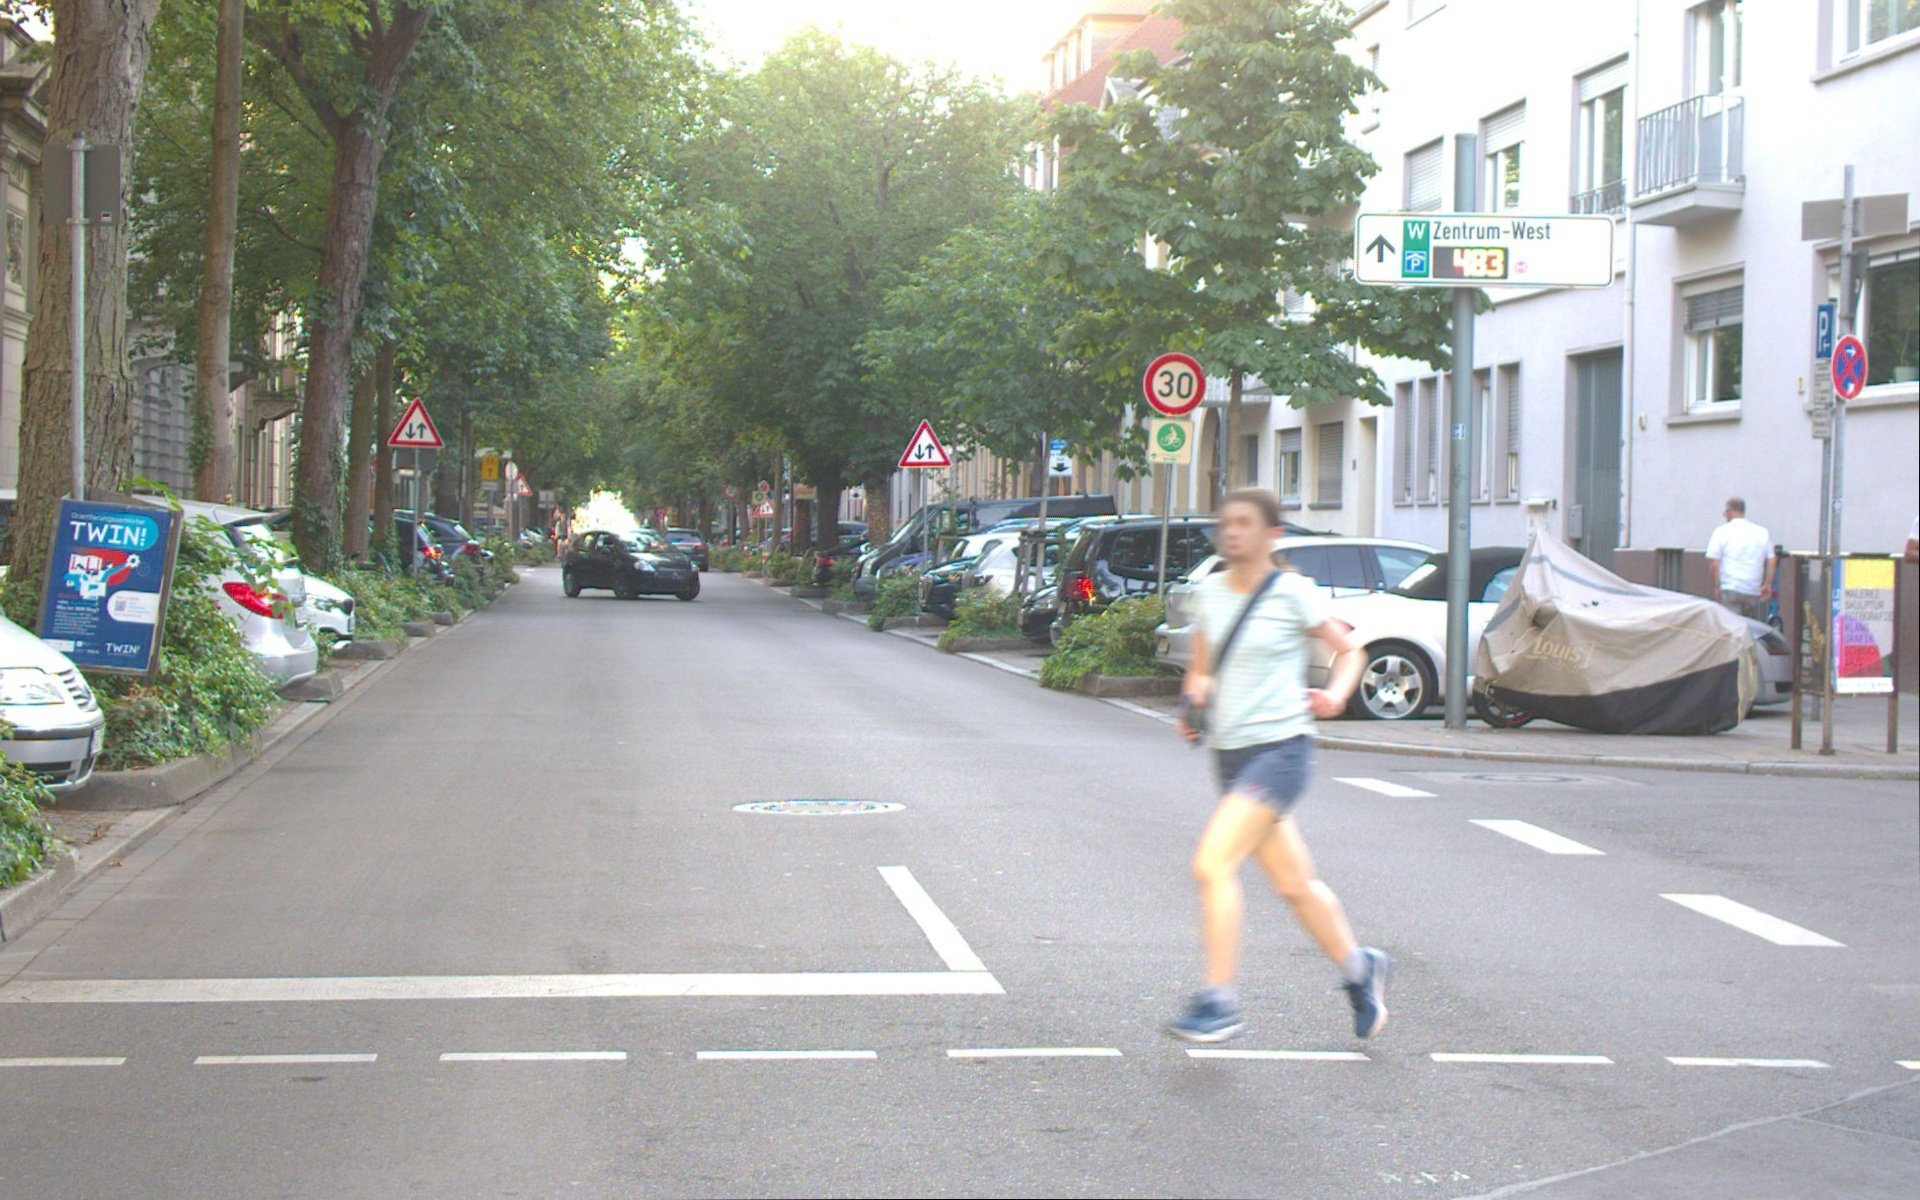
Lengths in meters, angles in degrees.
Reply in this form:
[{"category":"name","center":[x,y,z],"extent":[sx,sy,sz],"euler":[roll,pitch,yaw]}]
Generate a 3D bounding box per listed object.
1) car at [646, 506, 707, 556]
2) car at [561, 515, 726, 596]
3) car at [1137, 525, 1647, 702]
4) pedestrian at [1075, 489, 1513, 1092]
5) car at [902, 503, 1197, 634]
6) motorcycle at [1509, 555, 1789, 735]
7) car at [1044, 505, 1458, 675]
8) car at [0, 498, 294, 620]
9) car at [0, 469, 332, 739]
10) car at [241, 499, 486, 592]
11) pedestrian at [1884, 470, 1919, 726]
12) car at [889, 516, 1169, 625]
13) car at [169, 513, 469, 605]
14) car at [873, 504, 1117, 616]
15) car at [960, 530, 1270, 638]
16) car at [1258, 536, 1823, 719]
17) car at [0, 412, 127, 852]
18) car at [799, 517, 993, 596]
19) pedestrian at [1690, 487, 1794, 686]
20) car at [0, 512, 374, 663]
[{"category":"car","center":[-9.353,-2.289,113.279],"extent":[1.825,1.556,4.029],"euler":[2,1,-7]},{"category":"car","center":[-6.743,-0.954,72.979],"extent":[1.904,1.572,3.992],"euler":[2,1,-31]},{"category":"car","center":[3.636,0.098,29.311],"extent":[4.013,1.437,1.707],"euler":[0,1,-6]},{"category":"pedestrian","center":[0.927,0.487,9.492],"extent":[0.701,1.552,0.977],"euler":[3,2,45]},{"category":"car","center":[1.254,-0.462,49.155],"extent":[4.013,1.809,1.707],"euler":[0,1,-6]},{"category":"motorcycle","center":[4.708,0.298,23.568],"extent":[1.800,1.195,0.613],"euler":[1,1,4]},{"category":"car","center":[2.977,-0.116,35.681],"extent":[4.013,1.684,1.707],"euler":[0,1,-6]},{"category":"car","center":[-11.203,-0.563,46.708],"extent":[4.038,1.584,1.833],"euler":[1,1,-5]},{"category":"car","center":[-6.503,-0.008,22.473],"extent":[4.547,1.683,1.833],"euler":[1,1,-5]},{"category":"car","center":[-11.614,-1.064,67.196],"extent":[4.547,1.686,1.833],"euler":[1,1,-5]},{"category":"pedestrian","center":[7.254,-0.010,24.851],"extent":[0.767,1.835,0.944],"euler":[1,1,-5]},{"category":"car","center":[1.017,-0.455,52.004],"extent":[4.013,1.525,1.707],"euler":[1,1,-6]},{"category":"car","center":[-10.223,-0.665,55.075],"extent":[4.547,1.405,1.833],"euler":[1,1,-5]},{"category":"car","center":[0.579,-0.697,59.277],"extent":[4.013,1.824,1.707],"euler":[1,1,-6]},{"category":"car","center":[2.083,-0.230,46.923],"extent":[4.013,1.404,1.707],"euler":[0,1,-6]},{"category":"car","center":[4.458,0.198,26.735],"extent":[4.013,1.338,1.707],"euler":[0,1,-5]},{"category":"car","center":[-6.039,0.092,14.932],"extent":[4.546,1.828,1.834],"euler":[1,1,-8]},{"category":"car","center":[-1.395,-0.938,74.152],"extent":[4.013,1.596,1.707],"euler":[1,1,-6]},{"category":"pedestrian","center":[6.985,-0.128,30.732],"extent":[0.704,1.746,0.699],"euler":[2,1,-2]},{"category":"car","center":[-7.947,-0.141,32.675],"extent":[4.547,1.367,1.833],"euler":[1,1,-5]}]
